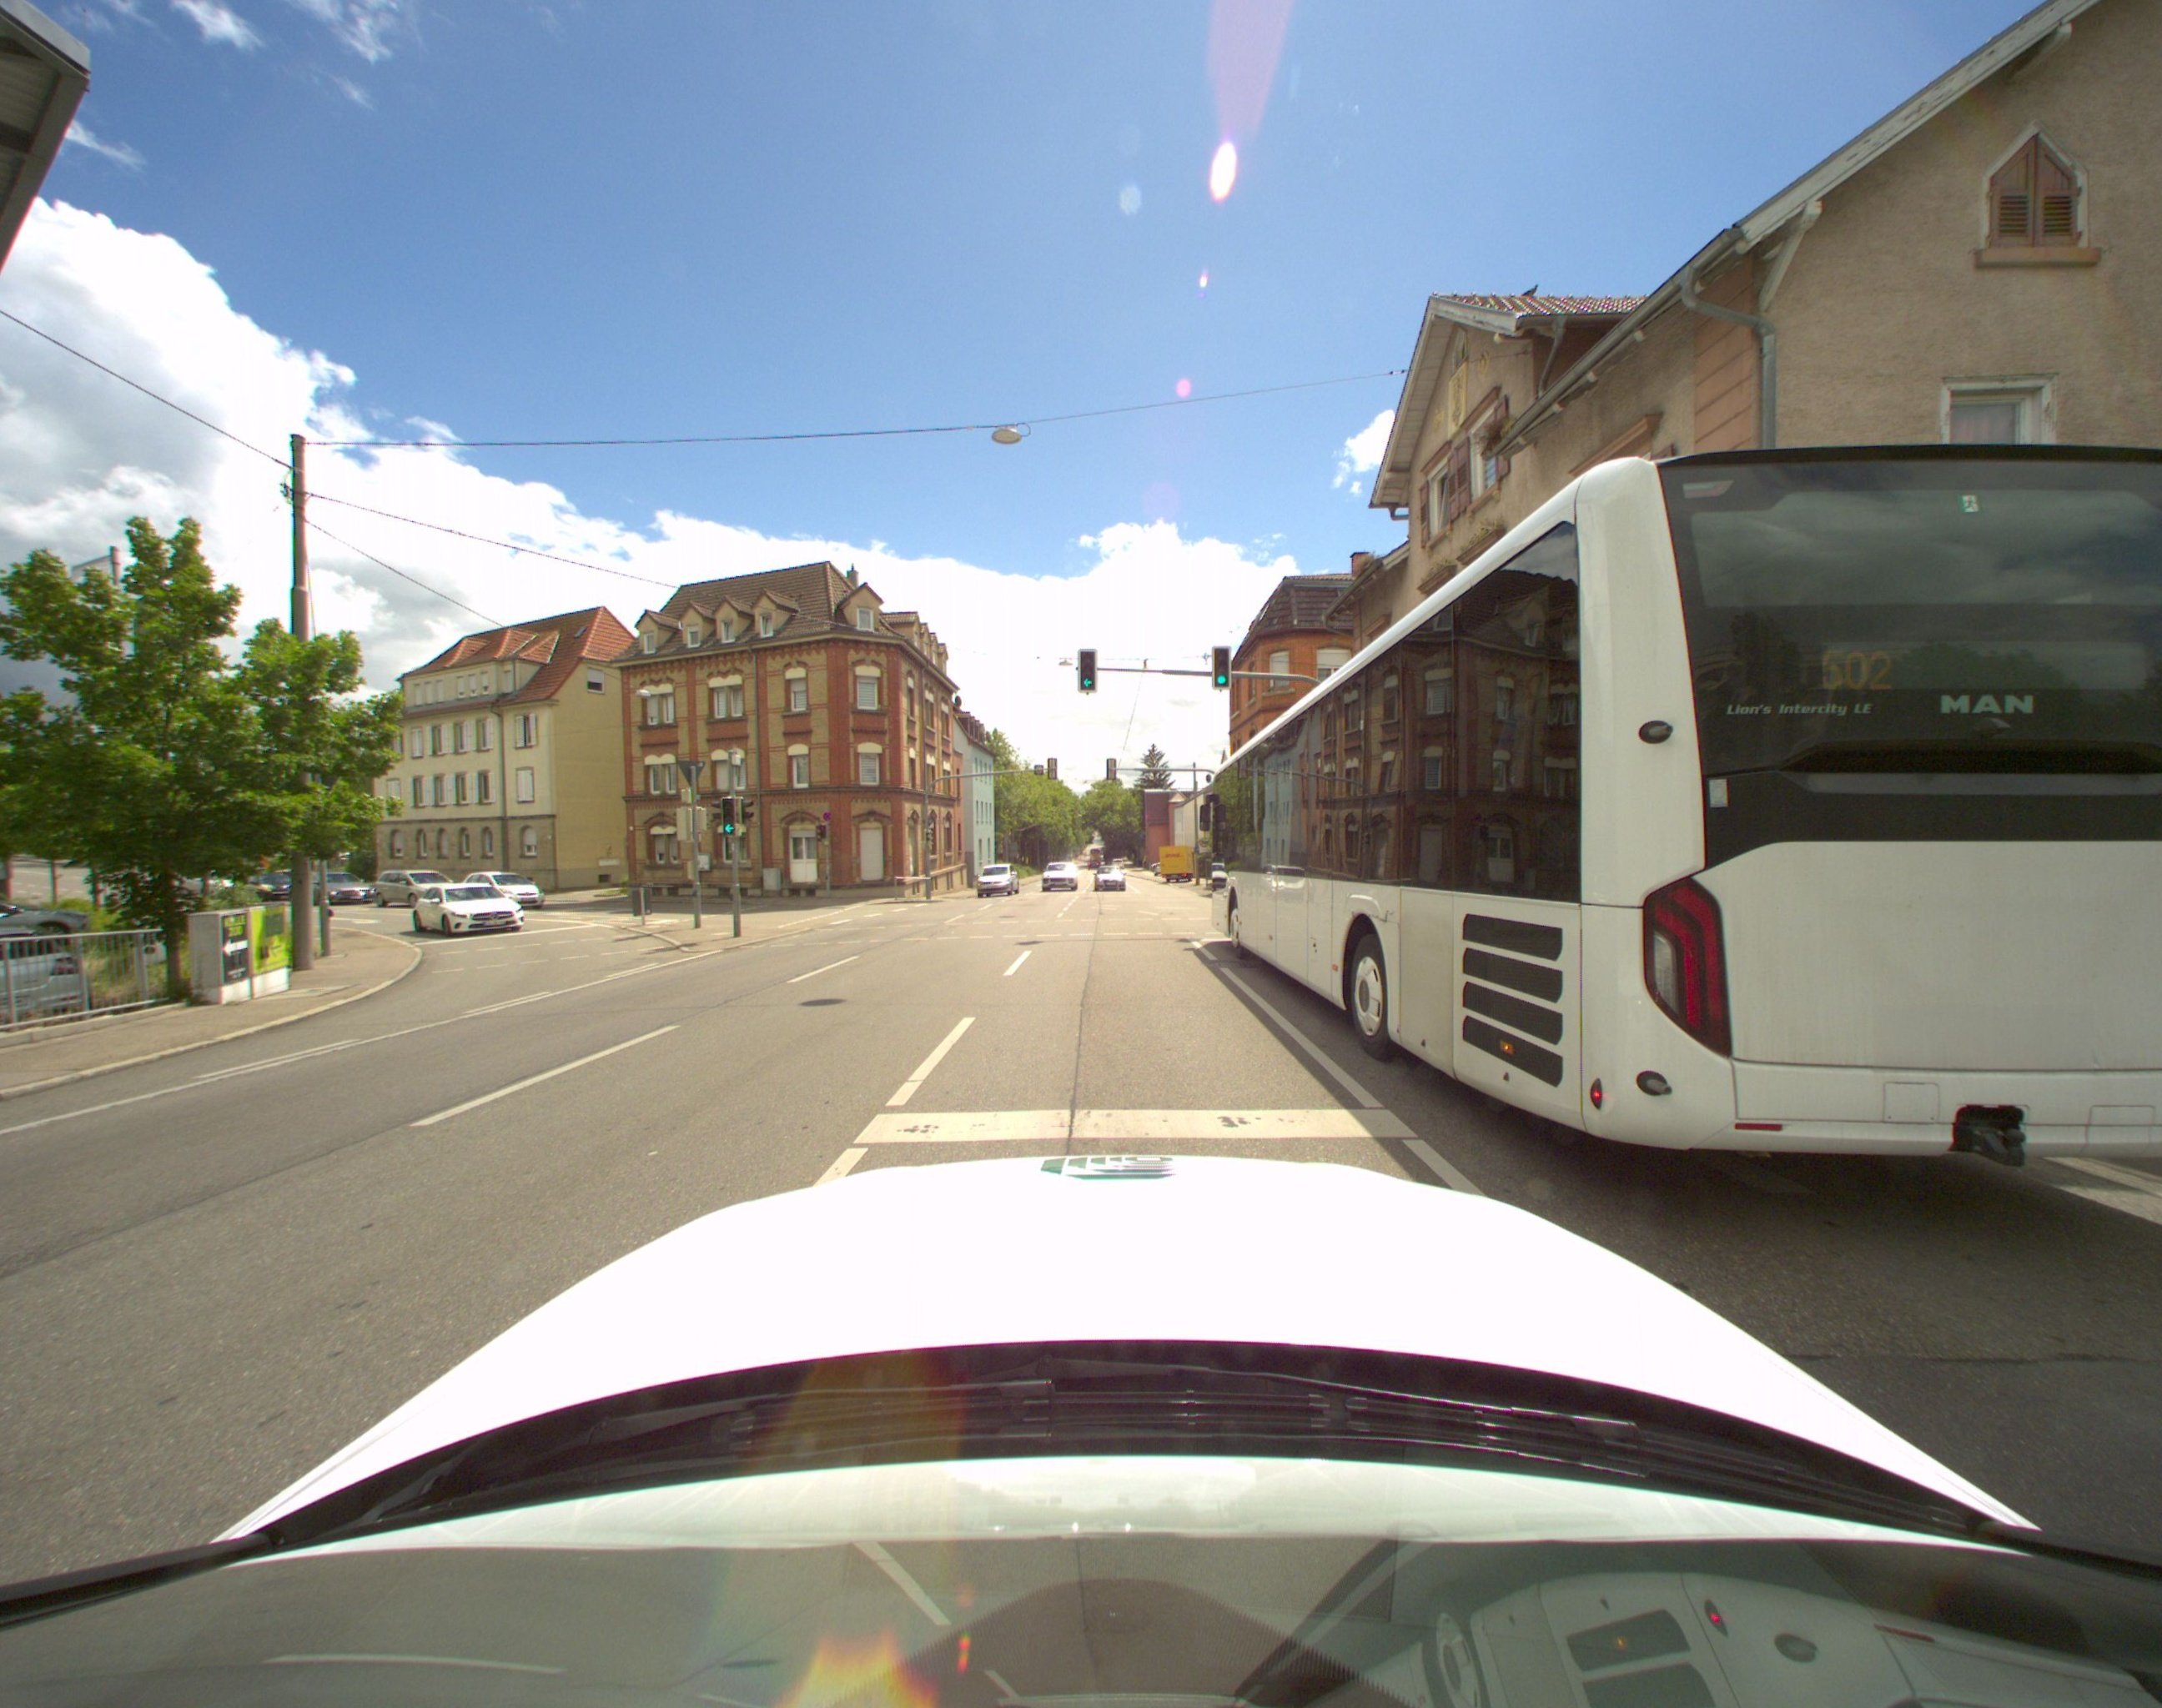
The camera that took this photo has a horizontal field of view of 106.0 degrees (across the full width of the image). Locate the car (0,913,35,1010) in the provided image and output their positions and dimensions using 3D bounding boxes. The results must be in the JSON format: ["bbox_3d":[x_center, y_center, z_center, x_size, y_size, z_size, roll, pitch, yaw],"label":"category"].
[{"bbox_3d":[-19.708,1.844,14.040,3.744,1.523,1.526,-1,0,30],"label":"car"}]

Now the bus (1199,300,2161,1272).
[{"bbox_3d":[3.489,-0.202,9.187,2.893,3.510,12.492,0,-1,2],"label":"bus"}]

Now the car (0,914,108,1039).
[{"bbox_3d":[-16.113,1.754,12.069,3.638,1.575,1.766,-1,-2,34],"label":"car"}]

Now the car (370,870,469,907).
[{"bbox_3d":[-29.195,1.490,35.940,3.951,1.519,1.757,-1,0,24],"label":"car"}]

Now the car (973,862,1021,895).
[{"bbox_3d":[-4.399,1.252,43.454,1.928,1.563,4.390,-2,0,2],"label":"car"}]

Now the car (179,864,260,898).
[{"bbox_3d":[-46.414,1.459,43.889,3.950,1.720,1.957,-1,0,27],"label":"car"}]

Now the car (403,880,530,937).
[{"bbox_3d":[-18.237,1.561,24.103,4.334,1.447,1.875,-2,0,37],"label":"car"}]

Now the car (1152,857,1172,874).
[{"bbox_3d":[9.206,1.325,92.958,1.904,1.817,3.998,-1,0,-1],"label":"car"}]

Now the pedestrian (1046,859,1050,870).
[{"bbox_3d":[-5.522,1.739,136.905,0.604,1.758,0.653,-2,0,0],"label":"pedestrian"}]

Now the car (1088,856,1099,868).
[{"bbox_3d":[2.065,1.292,133.281,1.812,1.784,4.002,-2,0,2],"label":"car"}]

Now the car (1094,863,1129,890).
[{"bbox_3d":[1.736,1.249,46.633,1.858,1.367,4.549,-2,0,2],"label":"car"}]

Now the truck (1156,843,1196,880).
[{"bbox_3d":[7.920,0.606,67.077,2.523,2.913,6.596,-1,-1,13],"label":"truck"}]

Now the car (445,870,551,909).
[{"bbox_3d":[-23.588,1.414,32.952,3.951,1.497,1.711,-1,0,24],"label":"car"}]

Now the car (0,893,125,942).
[{"bbox_3d":[-29.246,1.741,22.106,1.795,1.186,4.025,-1,0,31],"label":"car"}]

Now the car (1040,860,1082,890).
[{"bbox_3d":[-1.154,1.200,48.644,2.199,1.613,4.549,-2,0,2],"label":"car"}]

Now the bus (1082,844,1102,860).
[{"bbox_3d":[2.549,-0.473,191.523,3.297,3.631,11.217,-2,0,-7],"label":"bus"}]

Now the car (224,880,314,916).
[{"bbox_3d":[-40.195,2.149,40.293,4.291,1.586,2.012,-1,0,29],"label":"car"}]

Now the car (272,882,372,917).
[{"bbox_3d":[-35.439,2.096,38.035,3.951,1.519,2.011,-1,0,24],"label":"car"}]

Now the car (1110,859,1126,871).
[{"bbox_3d":[5.859,1.721,129.412,2.086,1.830,4.140,-1,0,-1],"label":"car"}]
